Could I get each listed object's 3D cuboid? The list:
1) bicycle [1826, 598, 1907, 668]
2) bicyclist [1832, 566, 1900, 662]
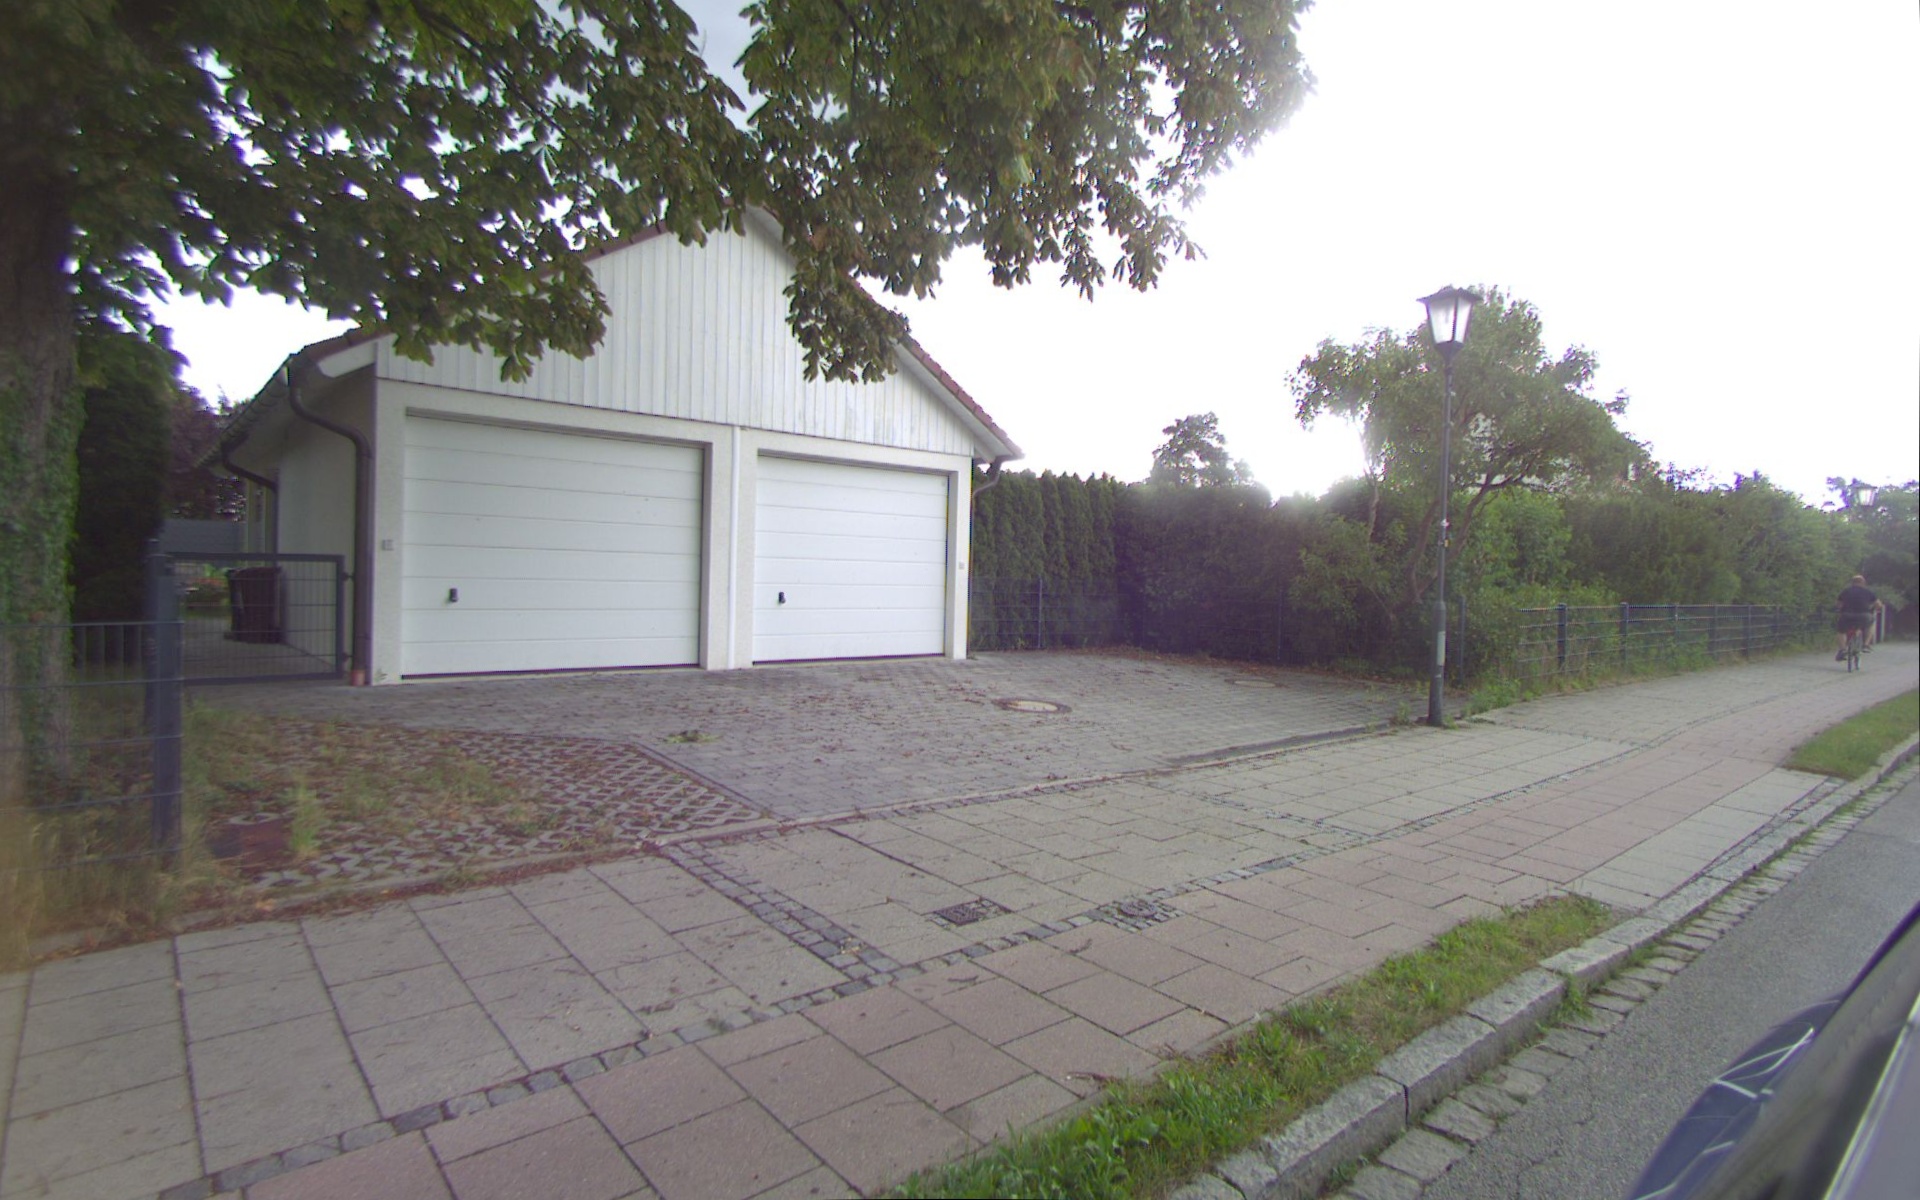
[{"bbox_3d":[16.189,0.562,18.062,1.812,1.157,0.766,0,2,-39],"label":"bicycle"},{"bbox_3d":[16.204,0.227,18.104,0.874,1.653,0.738,0,2,-39],"label":"bicyclist"}]
